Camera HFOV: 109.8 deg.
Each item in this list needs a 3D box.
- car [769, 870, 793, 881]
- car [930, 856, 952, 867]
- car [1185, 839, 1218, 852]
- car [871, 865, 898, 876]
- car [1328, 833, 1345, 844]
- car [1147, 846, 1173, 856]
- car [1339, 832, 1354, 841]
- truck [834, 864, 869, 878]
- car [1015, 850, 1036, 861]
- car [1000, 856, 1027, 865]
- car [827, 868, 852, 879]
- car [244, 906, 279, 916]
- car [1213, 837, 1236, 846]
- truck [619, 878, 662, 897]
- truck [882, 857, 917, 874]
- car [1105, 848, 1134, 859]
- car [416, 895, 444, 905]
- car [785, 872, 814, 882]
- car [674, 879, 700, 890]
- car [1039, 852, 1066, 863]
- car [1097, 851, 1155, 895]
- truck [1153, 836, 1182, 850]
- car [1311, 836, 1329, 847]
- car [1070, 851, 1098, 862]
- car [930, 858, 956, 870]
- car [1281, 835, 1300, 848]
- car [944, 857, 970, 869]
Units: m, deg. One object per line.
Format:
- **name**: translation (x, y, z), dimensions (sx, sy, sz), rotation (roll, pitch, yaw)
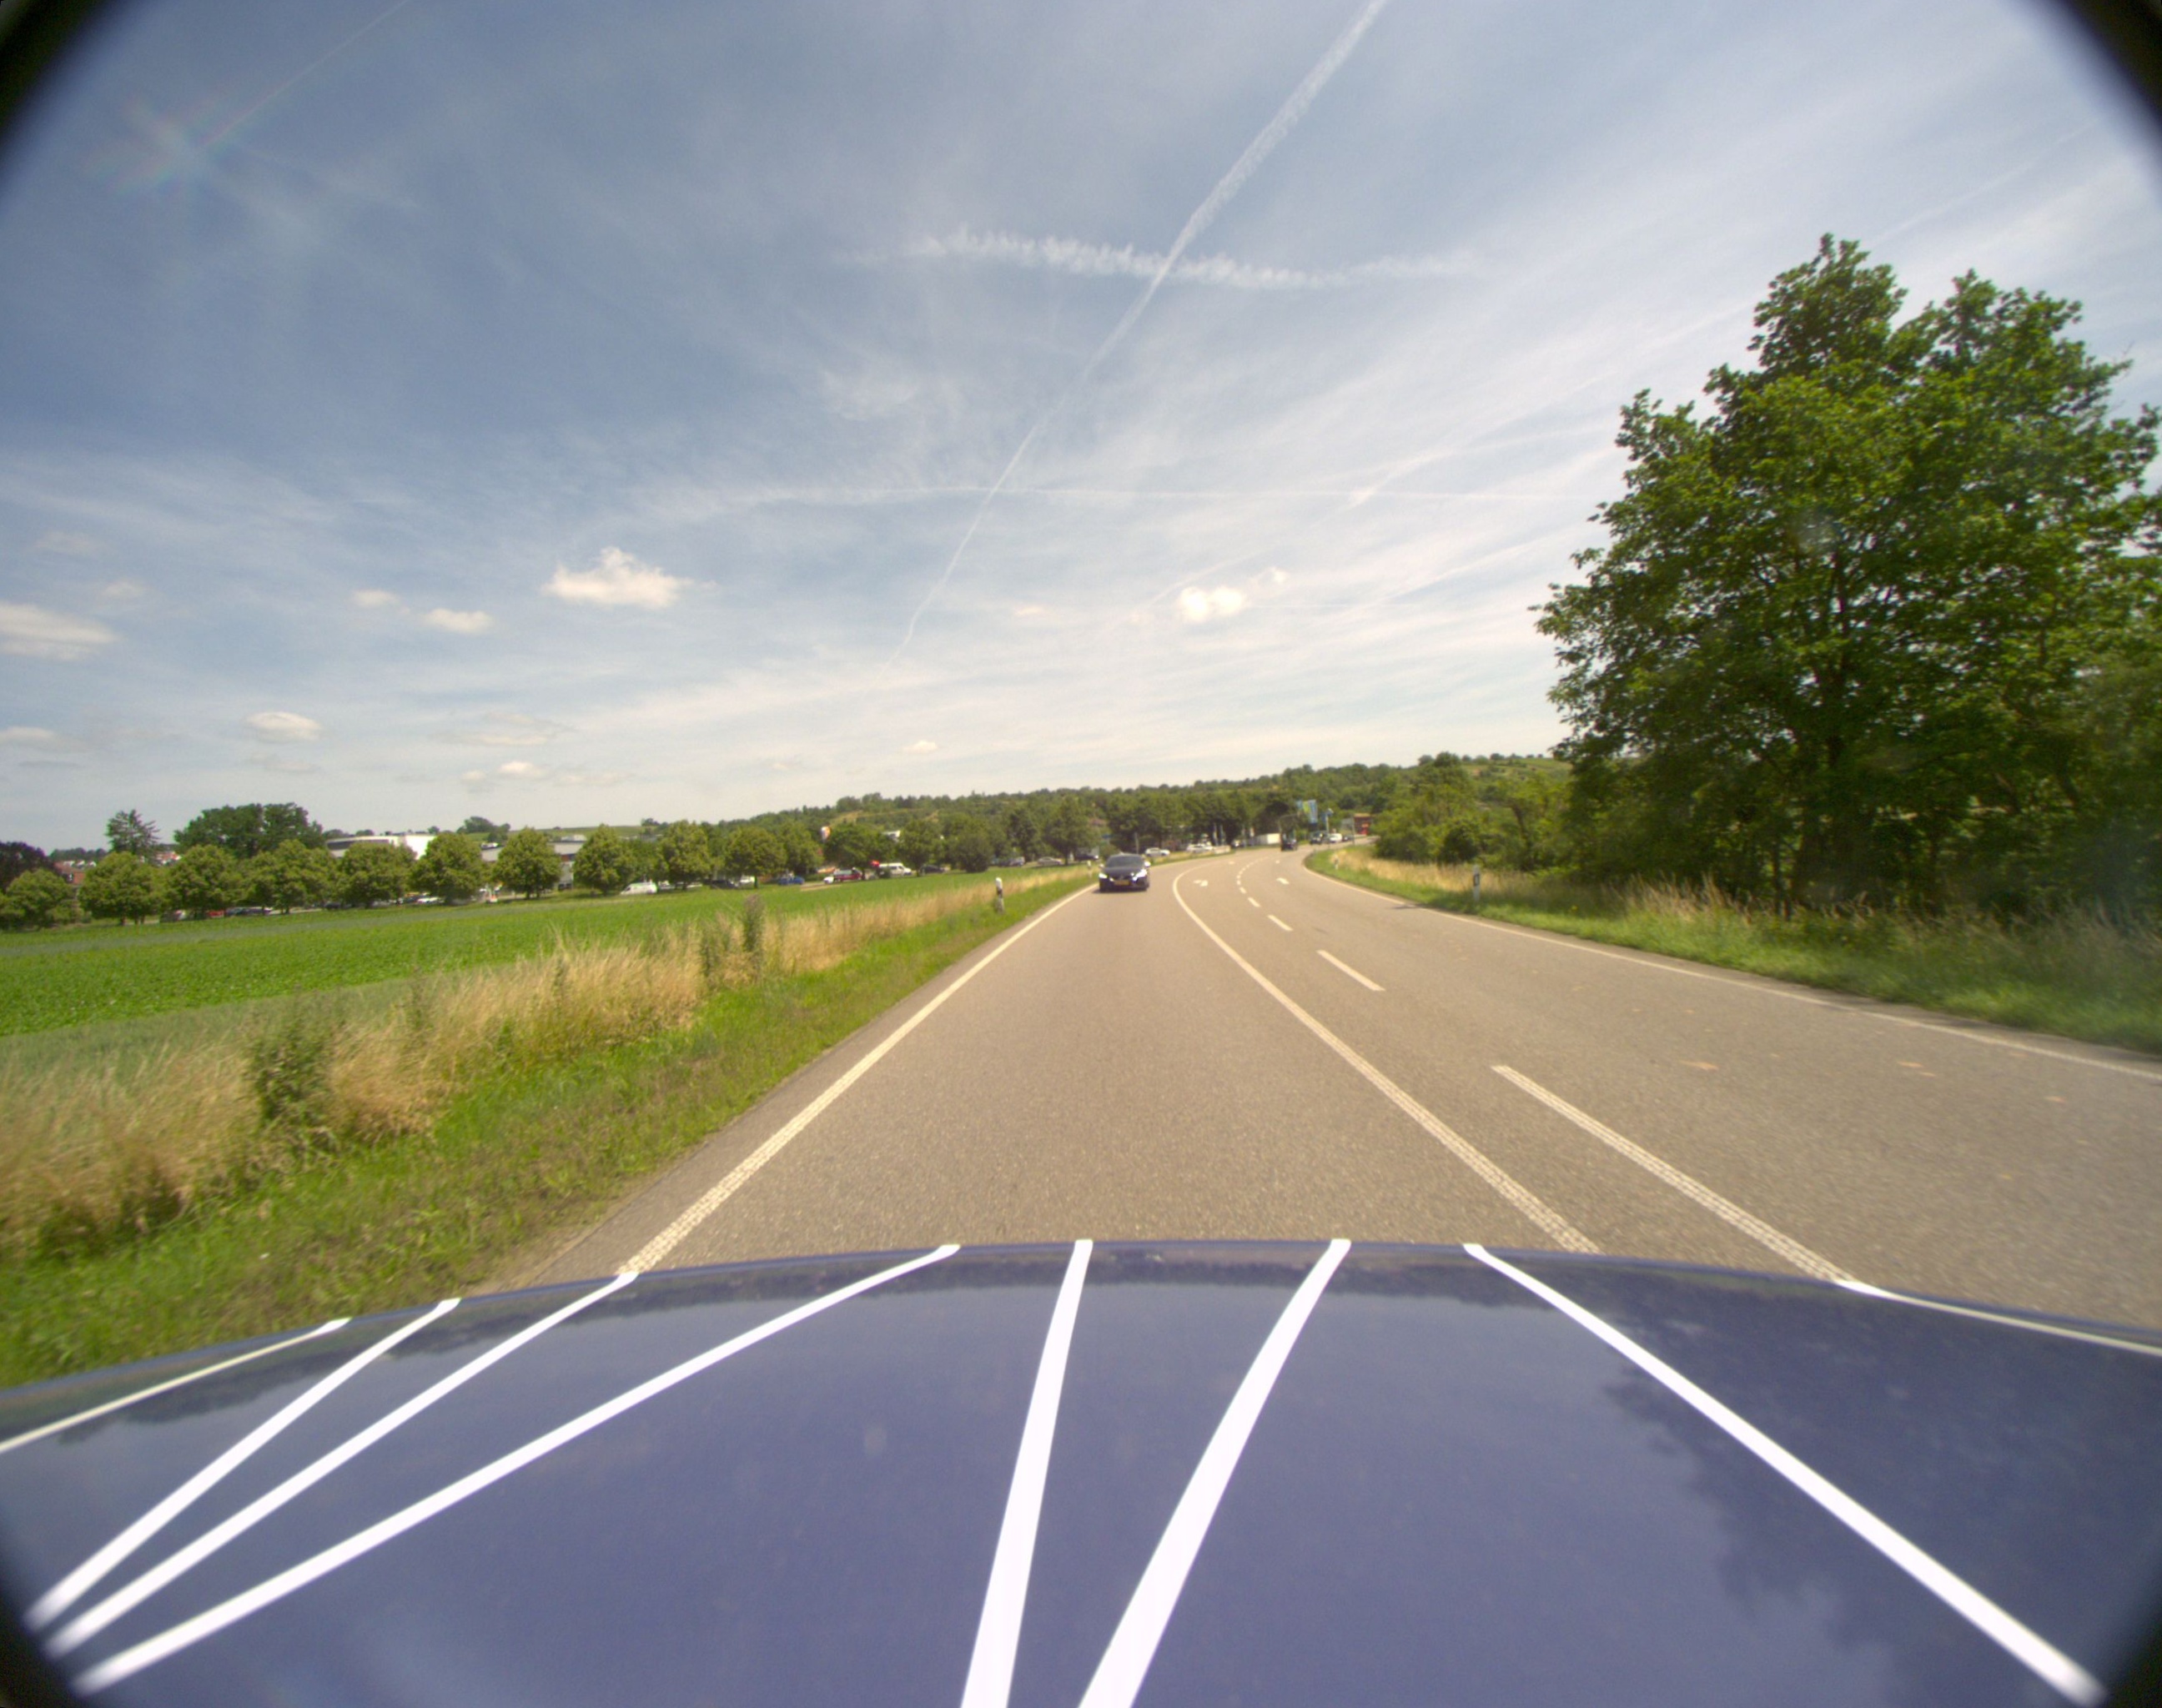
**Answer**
- **car**: translation (-59.901, 4.342, 151.740), dimensions (3.997, 1.814, 1.822), rotation (-5, 2, 1)
- **car**: translation (-27.663, 1.528, 149.732), dimensions (4.001, 1.814, 1.820), rotation (-5, 2, -15)
- **car**: translation (19.332, -1.342, 122.083), dimensions (4.629, 1.598, 2.001), rotation (-4, 3, 34)
- **car**: translation (-35.240, 2.966, 136.322), dimensions (4.526, 1.683, 1.865), rotation (-4, 2, -8)
- **car**: translation (49.416, -3.035, 146.932), dimensions (1.805, 1.723, 4.006), rotation (-3, 3, 38)
- **car**: translation (13.544, -0.514, 129.614), dimensions (4.098, 1.411, 1.802), rotation (-3, 1, 16)
- **car**: translation (53.535, -3.514, 153.084), dimensions (1.806, 1.723, 4.007), rotation (-3, 1, 36)
- **truck**: translation (-40.021, 2.922, 132.512), dimensions (5.474, 1.965, 1.799), rotation (-5, 2, -7)
- **car**: translation (-11.110, 0.350, 151.802), dimensions (3.998, 1.814, 1.821), rotation (-5, 2, -3)
- **car**: translation (-12.018, 1.122, 134.703), dimensions (4.559, 1.266, 1.800), rotation (-5, 2, -1)
- **car**: translation (-45.168, 3.657, 142.086), dimensions (1.873, 1.550, 4.505), rotation (-4, 2, 21)
- **car**: translation (-164.322, 11.410, 152.387), dimensions (4.809, 1.582, 1.871), rotation (-5, 2, 1)
- **car**: translation (31.984, -2.786, 169.114), dimensions (4.635, 1.613, 1.995), rotation (-5, 3, -29)
- **truck**: translation (-78.415, 5.874, 135.365), dimensions (5.942, 2.723, 2.070), rotation (-5, 4, -8)
- **truck**: translation (-31.849, 2.021, 133.665), dimensions (5.637, 2.353, 2.051), rotation (-5, 2, -7)
- **car**: translation (6.651, -0.064, 131.697), dimensions (4.553, 1.502, 1.802), rotation (-3, 3, 15)
- **car**: translation (-129.920, 9.157, 151.664), dimensions (3.997, 1.620, 1.743), rotation (-5, 2, 1)
- **car**: translation (-50.524, 4.156, 136.354), dimensions (4.384, 1.549, 1.785), rotation (-3, 0, 3)
- **car**: translation (-78.705, 6.097, 151.717), dimensions (3.997, 1.814, 1.822), rotation (-5, 2, 1)
- **car**: translation (-5.034, 0.638, 133.862), dimensions (4.558, 1.502, 1.800), rotation (-5, 2, 3)
- **car**: translation (1.833, 0.685, 29.772), dimensions (1.782, 1.484, 4.160), rotation (-2, 1, 10)
- **truck**: translation (18.867, -2.502, 165.896), dimensions (6.157, 2.603, 2.258), rotation (-5, 1, -30)
- **car**: translation (44.008, -2.309, 139.985), dimensions (1.805, 1.723, 4.006), rotation (-3, 3, 38)
- **car**: translation (0.455, 0.396, 132.456), dimensions (4.556, 1.502, 1.800), rotation (-5, 4, 8)
- **car**: translation (-25.469, 1.846, 140.162), dimensions (4.524, 1.683, 1.865), rotation (-4, 2, -4)
- **car**: translation (29.715, -1.772, 107.838), dimensions (1.772, 1.649, 4.006), rotation (-2, 2, 28)
- **car**: translation (-21.940, 1.583, 134.568), dimensions (4.289, 1.688, 1.999), rotation (-5, 2, -1)
